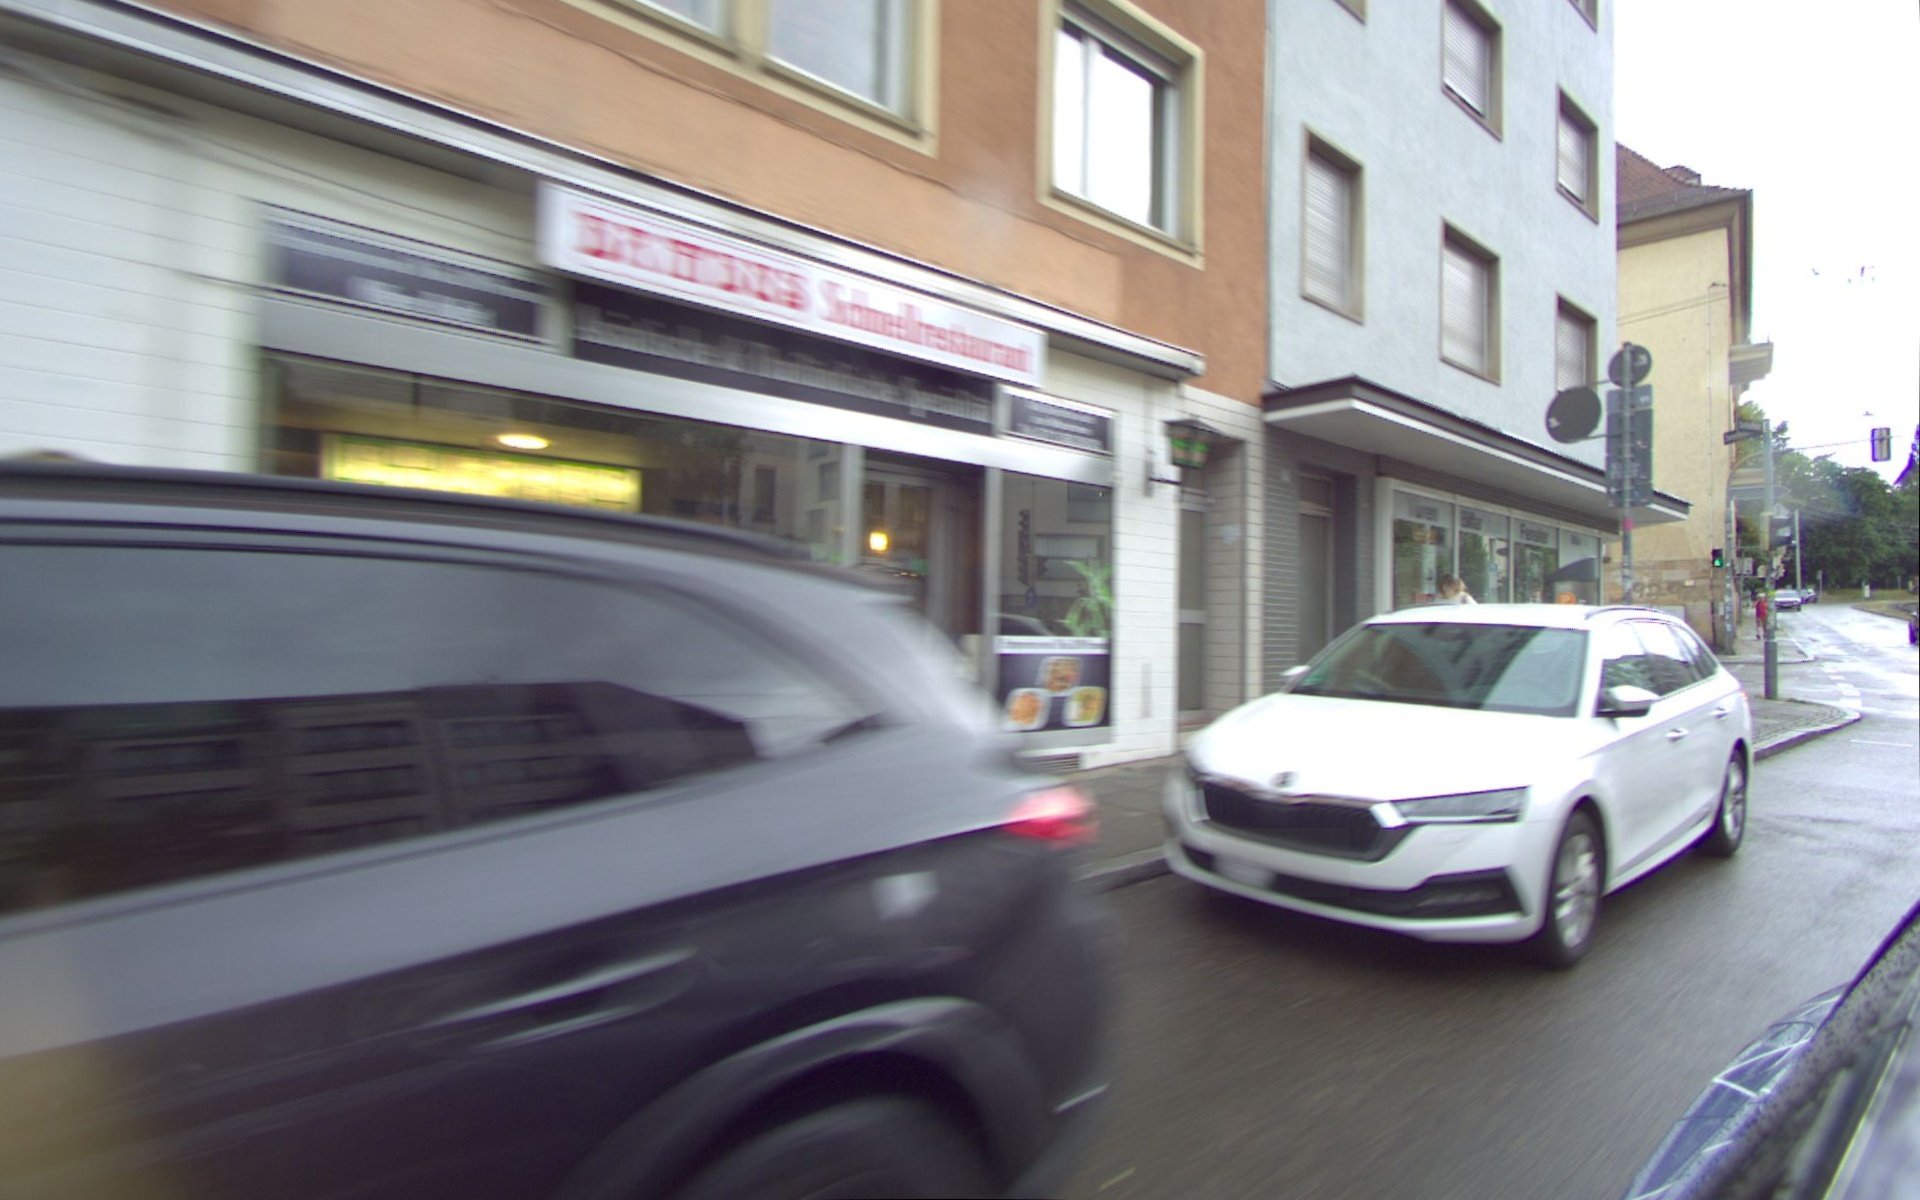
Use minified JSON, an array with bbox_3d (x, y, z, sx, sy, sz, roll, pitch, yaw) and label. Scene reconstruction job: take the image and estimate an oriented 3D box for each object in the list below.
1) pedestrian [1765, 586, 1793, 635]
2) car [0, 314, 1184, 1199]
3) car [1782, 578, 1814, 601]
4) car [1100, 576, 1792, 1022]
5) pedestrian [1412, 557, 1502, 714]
[{"bbox_3d":[31.420,0.388,38.840,0.745,1.785,0.807,3,3,38],"label":"pedestrian"},{"bbox_3d":[-1.862,0.587,1.272,4.507,1.653,1.848,-2,0,-41],"label":"car"},{"bbox_3d":[66.224,-0.853,80.038,1.717,1.707,3.815,-4,-1,37],"label":"car"},{"bbox_3d":[2.955,0.631,5.589,4.507,1.473,1.805,-2,2,-41],"label":"car"},{"bbox_3d":[5.294,0.362,10.767,0.687,1.592,0.752,1,-1,38],"label":"pedestrian"}]
